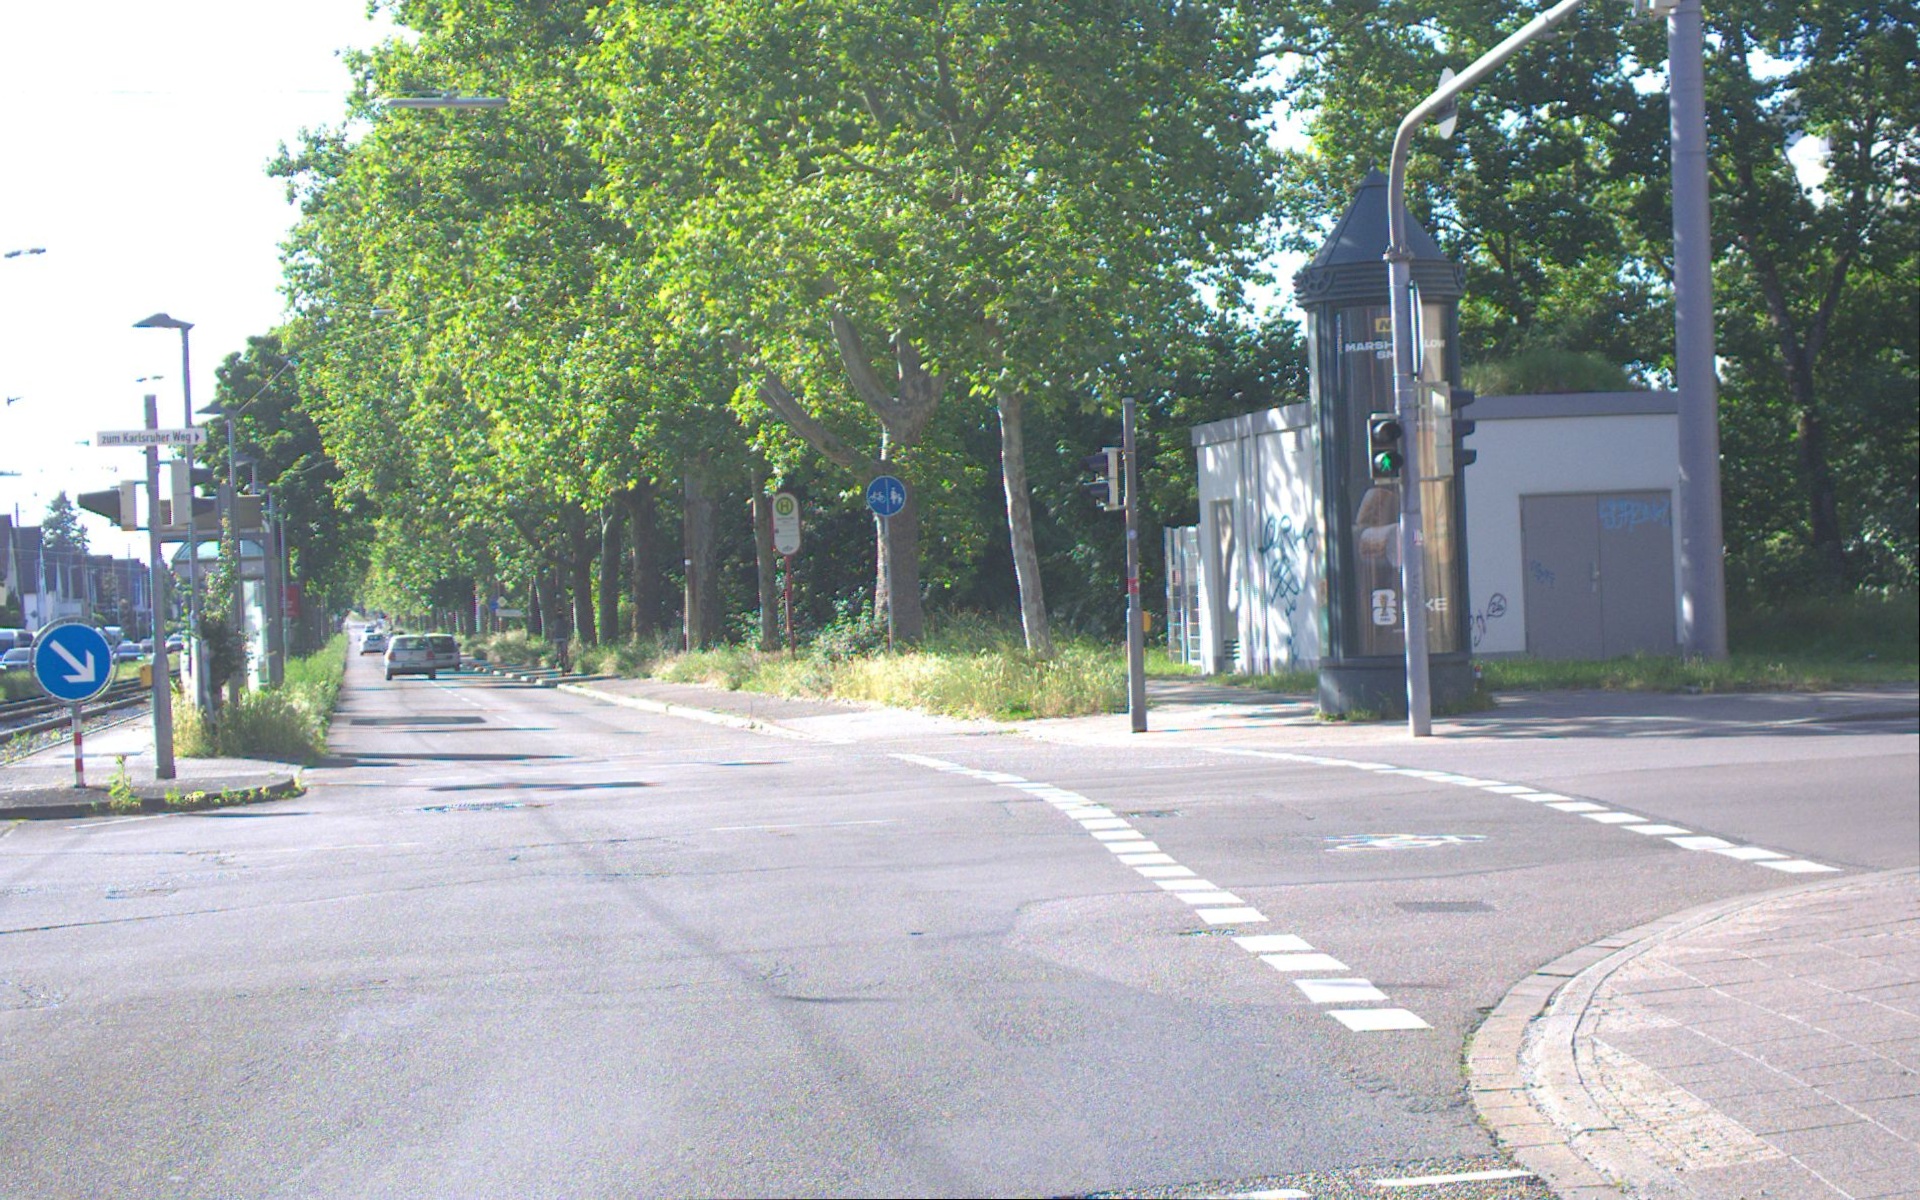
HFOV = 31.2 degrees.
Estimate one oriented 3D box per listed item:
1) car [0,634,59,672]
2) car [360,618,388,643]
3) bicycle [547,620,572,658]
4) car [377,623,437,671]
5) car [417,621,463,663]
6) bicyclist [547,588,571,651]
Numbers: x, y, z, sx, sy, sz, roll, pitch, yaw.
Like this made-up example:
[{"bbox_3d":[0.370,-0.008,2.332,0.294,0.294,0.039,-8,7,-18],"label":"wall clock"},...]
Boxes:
[{"bbox_3d":[-38.043,2.155,140.635,1.993,1.464,4.377,-2,0,-11],"label":"car"},{"bbox_3d":[-39.539,2.022,232.021,1.750,1.599,3.581,-2,0,-11],"label":"car"},{"bbox_3d":[-11.447,1.117,98.319,0.536,1.062,1.434,-2,0,-12],"label":"bicycle"},{"bbox_3d":[-17.946,1.509,111.476,1.867,1.481,3.556,-2,0,-10],"label":"car"},{"bbox_3d":[-20.982,1.692,138.632,1.750,1.599,3.751,-1,0,-10],"label":"car"},{"bbox_3d":[-11.474,0.549,98.345,0.534,1.764,0.713,-2,0,-12],"label":"bicyclist"}]
